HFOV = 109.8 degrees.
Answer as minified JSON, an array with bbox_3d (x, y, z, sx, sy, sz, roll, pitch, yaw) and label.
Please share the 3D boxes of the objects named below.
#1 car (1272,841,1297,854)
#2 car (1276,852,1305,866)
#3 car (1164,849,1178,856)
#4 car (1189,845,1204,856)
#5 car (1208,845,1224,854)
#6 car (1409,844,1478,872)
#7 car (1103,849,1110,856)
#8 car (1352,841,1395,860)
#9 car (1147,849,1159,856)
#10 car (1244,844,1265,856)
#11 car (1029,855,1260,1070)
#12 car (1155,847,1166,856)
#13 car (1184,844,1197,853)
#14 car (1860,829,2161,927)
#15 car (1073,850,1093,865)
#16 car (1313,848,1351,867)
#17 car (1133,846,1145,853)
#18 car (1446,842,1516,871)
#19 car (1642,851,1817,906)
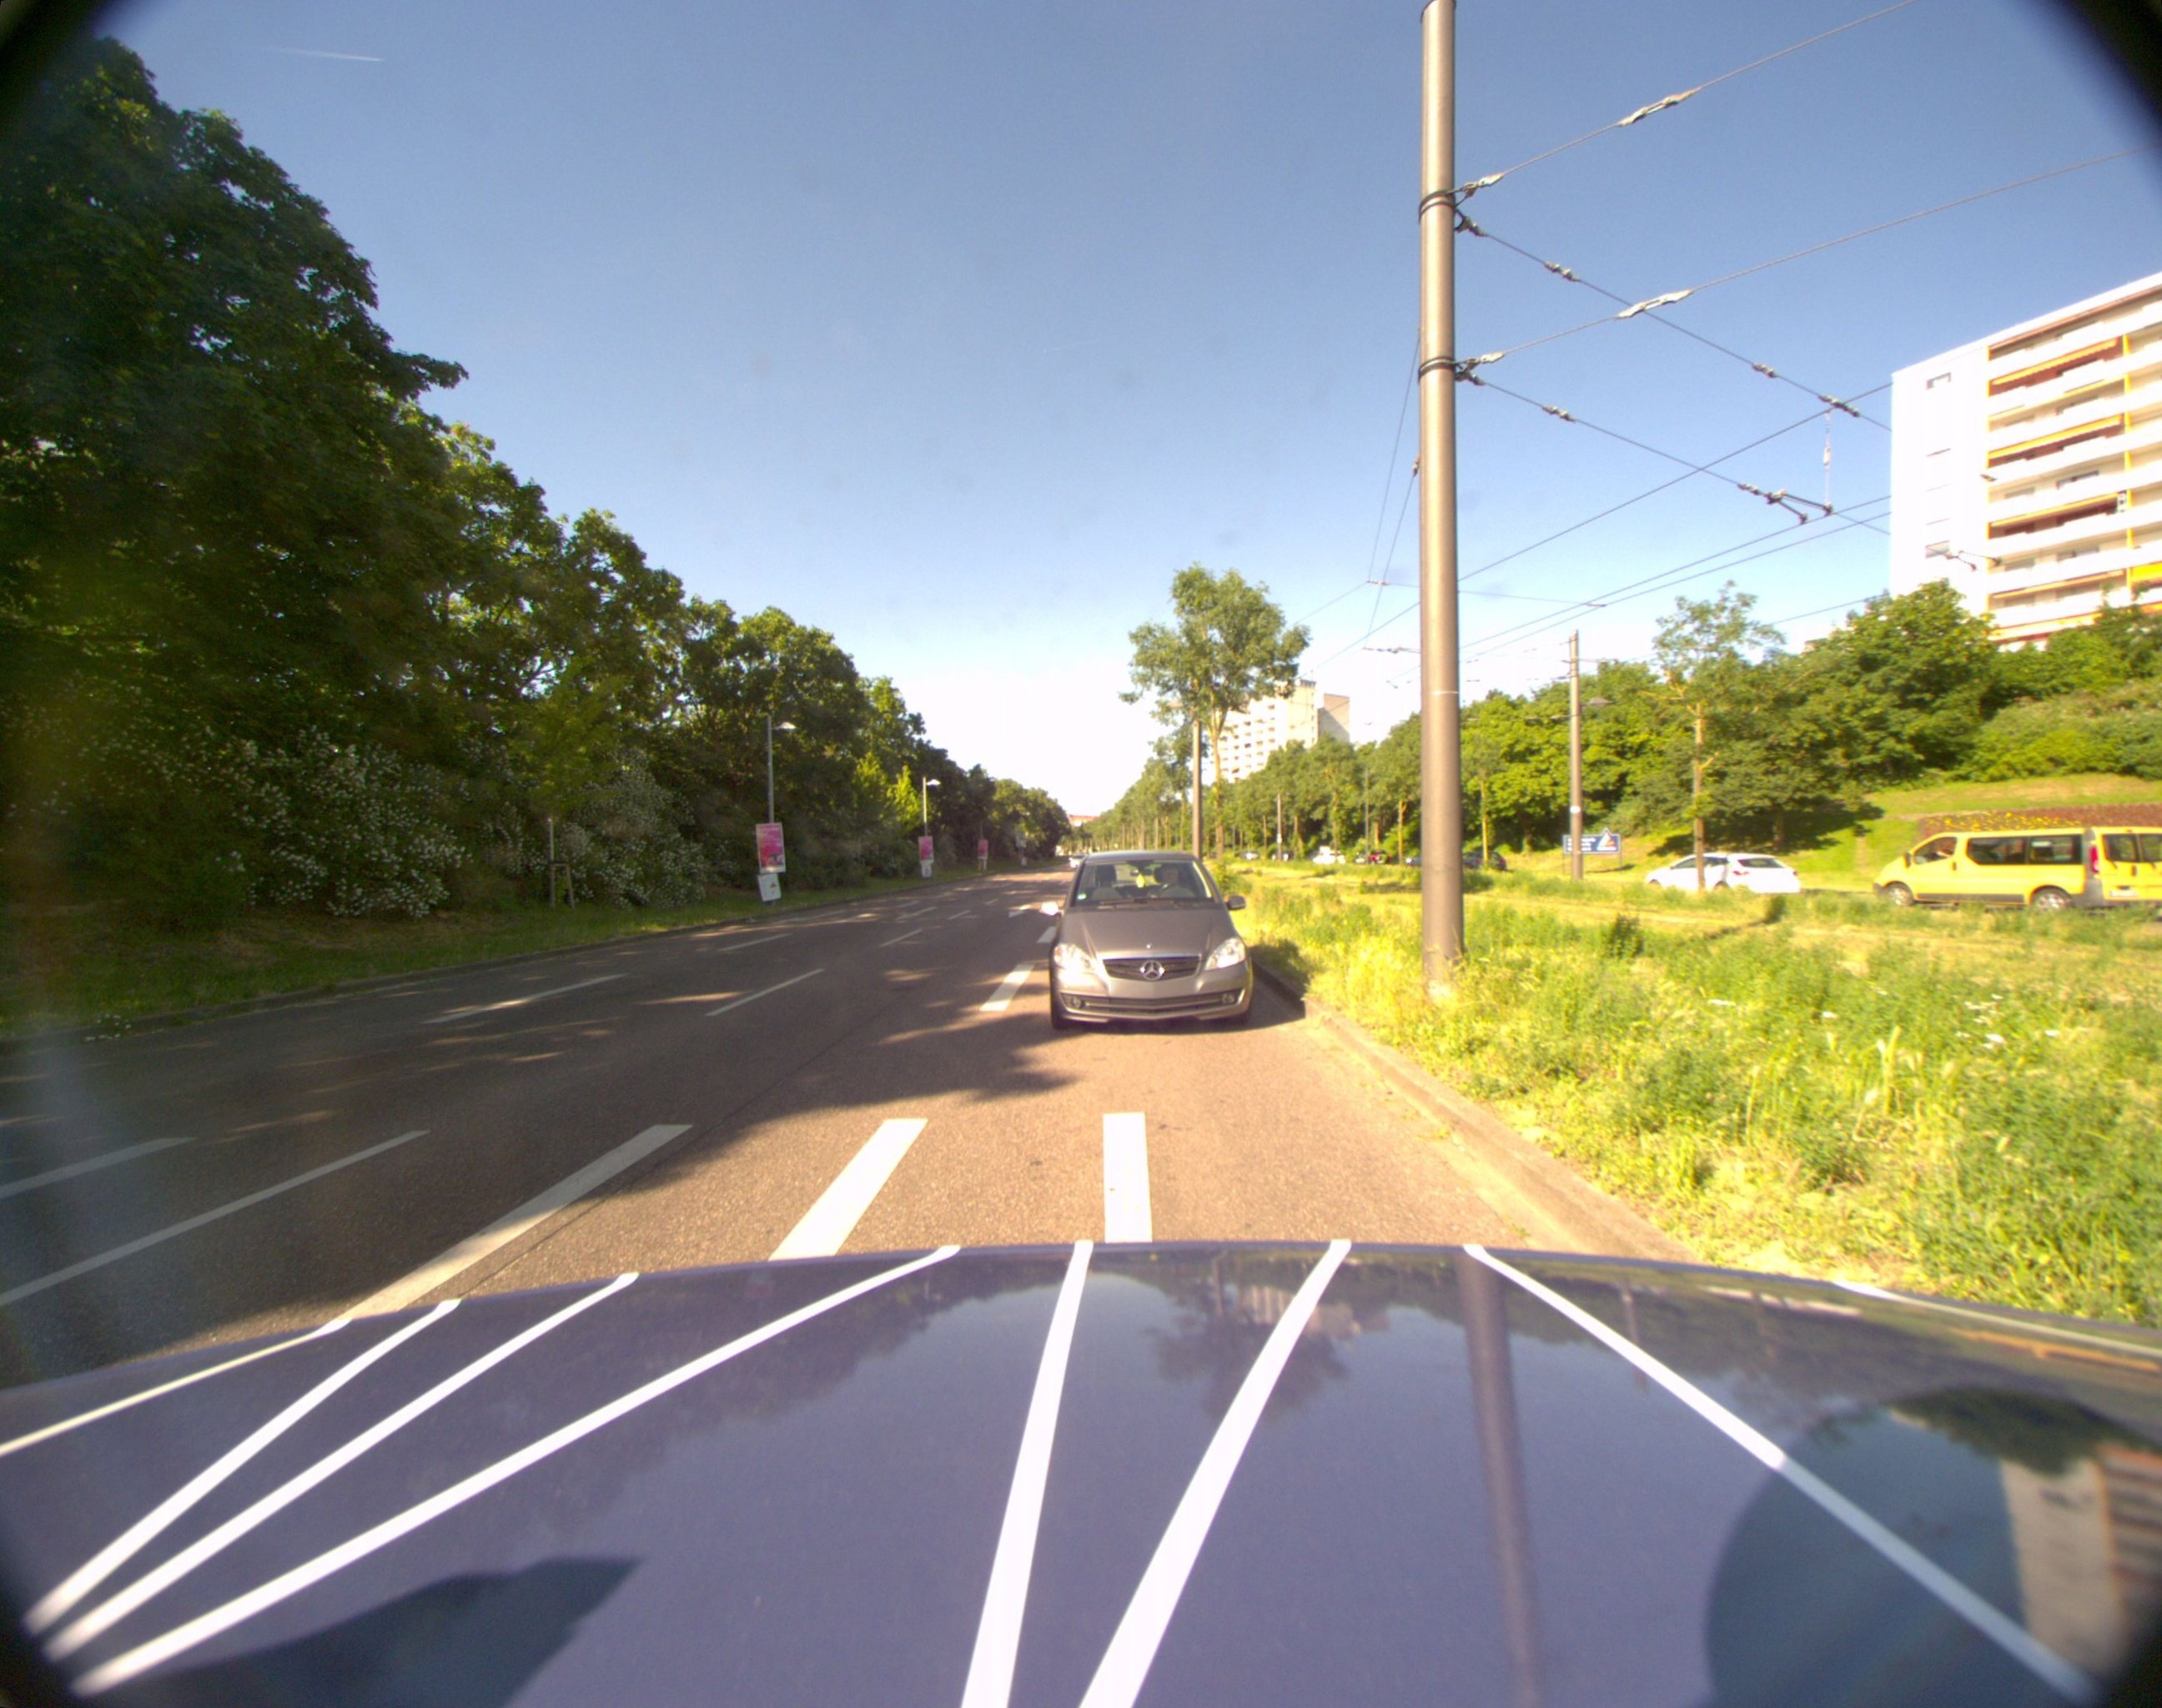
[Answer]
[{"bbox_3d":[22.984,-0.715,86.036,1.847,1.390,4.000,-1,0,2],"label":"car"},{"bbox_3d":[20.253,0.461,73.623,1.825,1.353,4.230,-1,0,3],"label":"car"},{"bbox_3d":[19.776,-0.340,166.383,1.911,1.652,3.996,-1,0,-10],"label":"car"},{"bbox_3d":[18.344,-0.573,120.808,1.882,1.755,4.000,-1,0,1],"label":"car"},{"bbox_3d":[21.606,-0.692,121.538,1.802,1.455,4.000,-1,0,1],"label":"car"},{"bbox_3d":[19.507,0.219,41.124,1.799,1.408,4.310,-1,0,2],"label":"car"},{"bbox_3d":[7.642,-0.494,229.160,1.942,2.002,3.999,-1,0,-2],"label":"car"},{"bbox_3d":[22.967,-0.249,59.754,1.867,1.410,4.000,-1,0,1],"label":"car"},{"bbox_3d":[16.738,-0.342,176.661,1.911,1.652,3.996,-1,0,-10],"label":"car"},{"bbox_3d":[23.028,-0.505,100.913,1.998,1.477,4.000,-1,0,1],"label":"car"},{"bbox_3d":[0.519,0.847,7.802,1.759,1.612,3.880,-1,0,1],"label":"car"},{"bbox_3d":[16.218,-0.589,154.503,1.882,1.755,4.000,-1,0,1],"label":"car"},{"bbox_3d":[21.499,-1.045,149.472,1.882,1.755,4.000,-1,0,1],"label":"car"},{"bbox_3d":[21.552,0.488,17.612,1.998,1.955,4.907,0,0,1],"label":"car"},{"bbox_3d":[0.212,0.328,79.209,1.876,1.428,4.594,-1,0,2],"label":"car"},{"bbox_3d":[19.737,0.277,59.886,1.867,1.410,4.000,-1,0,3],"label":"car"},{"bbox_3d":[15.276,-1.228,200.942,1.884,1.755,3.995,-1,0,-13],"label":"car"},{"bbox_3d":[22.540,0.116,43.013,1.792,1.499,4.240,-1,0,1],"label":"car"},{"bbox_3d":[18.573,0.643,22.026,1.693,1.399,4.021,-1,0,1],"label":"car"}]
